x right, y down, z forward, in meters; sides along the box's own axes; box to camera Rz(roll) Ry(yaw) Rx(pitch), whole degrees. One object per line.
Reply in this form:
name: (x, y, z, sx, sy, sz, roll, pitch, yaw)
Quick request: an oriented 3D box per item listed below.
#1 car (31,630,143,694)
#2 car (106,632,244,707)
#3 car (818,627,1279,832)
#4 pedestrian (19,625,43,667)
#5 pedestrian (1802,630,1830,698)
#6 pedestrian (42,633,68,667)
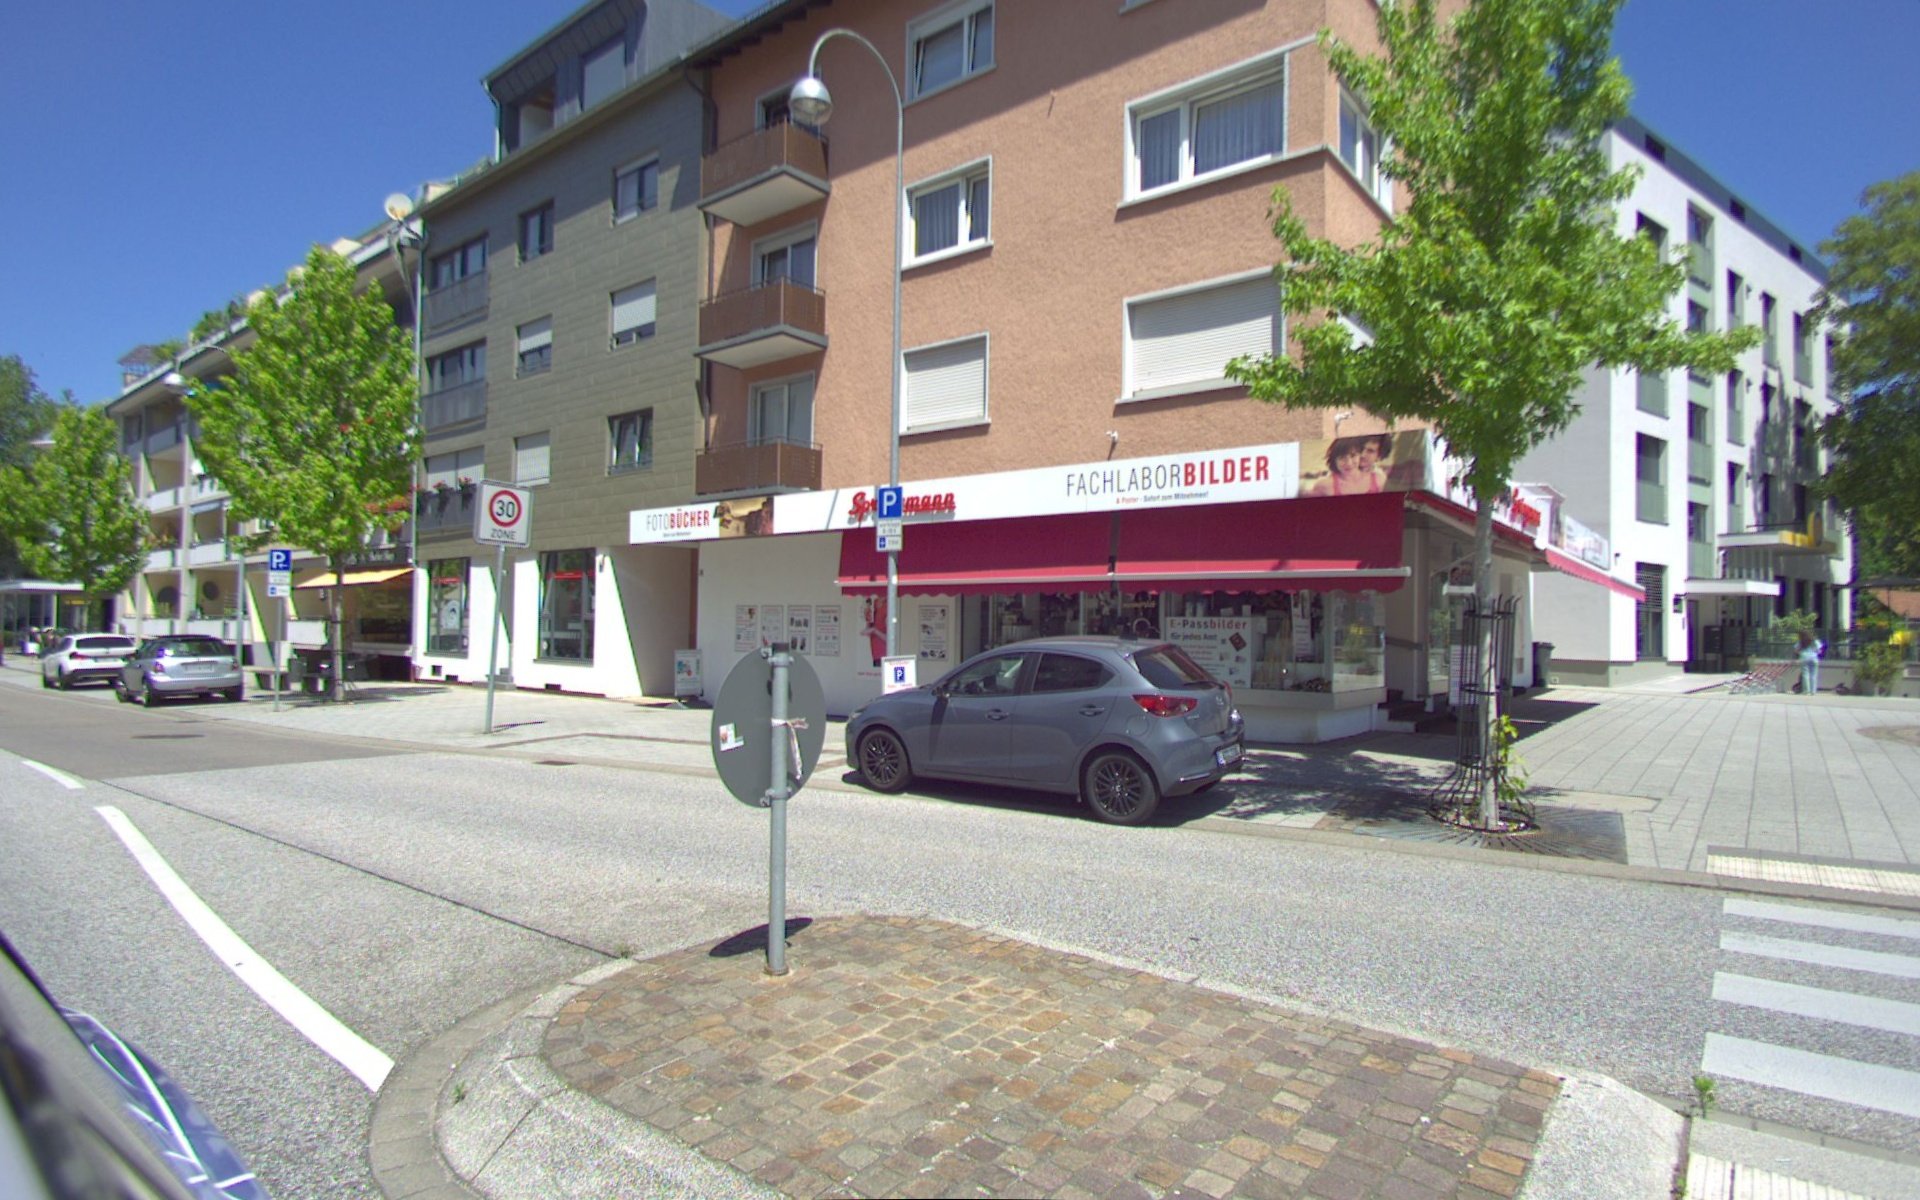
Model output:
car: (-24.857, 1.706, 28.767, 4.296, 1.604, 1.678, -2, 1, 40)
car: (-16.955, 1.443, 21.815, 3.545, 1.485, 1.605, -1, -3, 40)
car: (0.713, 1.039, 9.545, 4.052, 1.497, 1.652, -1, 0, 36)
pedestrian: (-40.945, 2.038, 44.613, 0.657, 1.818, 0.687, 2, -3, -36)
pedestrian: (20.974, 1.556, 24.802, 0.449, 1.631, 0.445, -2, -3, 37)
pedestrian: (-40.735, 2.230, 45.552, 0.767, 1.510, 0.698, 2, -3, -39)
